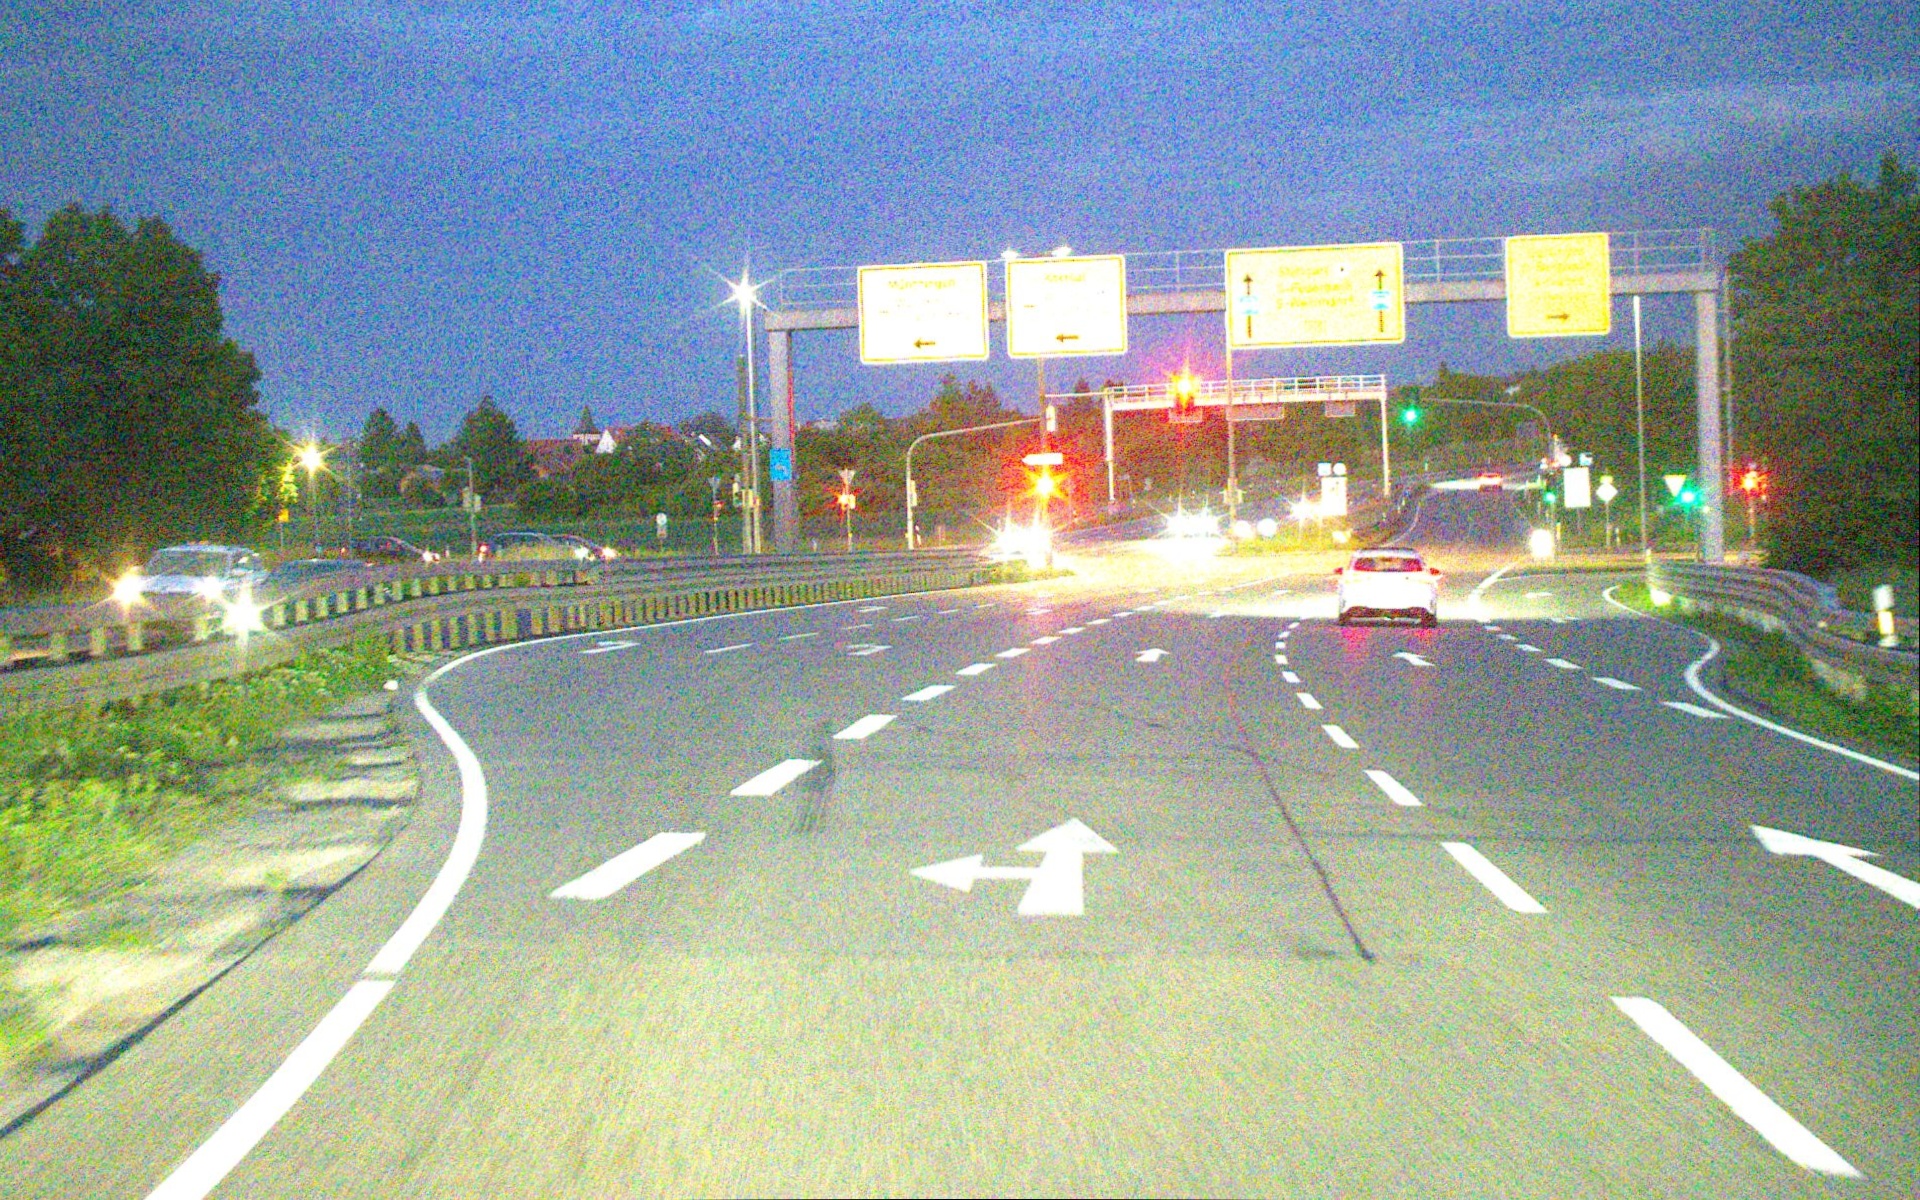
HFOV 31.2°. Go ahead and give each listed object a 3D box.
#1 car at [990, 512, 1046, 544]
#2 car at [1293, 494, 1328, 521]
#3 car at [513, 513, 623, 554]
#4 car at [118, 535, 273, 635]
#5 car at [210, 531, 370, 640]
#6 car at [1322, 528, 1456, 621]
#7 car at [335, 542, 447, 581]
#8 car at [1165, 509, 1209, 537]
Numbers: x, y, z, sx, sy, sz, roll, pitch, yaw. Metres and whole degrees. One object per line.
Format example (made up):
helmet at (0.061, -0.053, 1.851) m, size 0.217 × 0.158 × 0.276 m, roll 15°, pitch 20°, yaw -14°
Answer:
car at (2.761, -3.425, 162.766) m, size 1.994 × 1.420 × 4.531 m, roll 0°, pitch 2°, yaw 10°
car at (23.214, -6.123, 227.769) m, size 1.994 × 1.692 × 3.999 m, roll 0°, pitch 2°, yaw 10°
car at (-15.647, -2.663, 137.421) m, size 4.042 × 1.532 × 1.729 m, roll -1°, pitch 1°, yaw 8°
car at (-13.027, -0.290, 58.810) m, size 1.701 × 1.617 × 4.307 m, roll 0°, pitch 1°, yaw 0°
car at (-9.931, -0.249, 51.205) m, size 1.692 × 1.528 × 4.001 m, roll 0°, pitch 2°, yaw -2°
car at (7.957, -0.480, 63.530) m, size 2.009 × 1.605 × 3.843 m, roll 2°, pitch 1°, yaw 13°
car at (-22.390, -1.522, 135.377) m, size 3.987 × 1.468 × 1.729 m, roll -1°, pitch 1°, yaw 5°
car at (12.840, -4.365, 194.382) m, size 1.994 × 1.476 × 4.680 m, roll 0°, pitch 2°, yaw 10°
